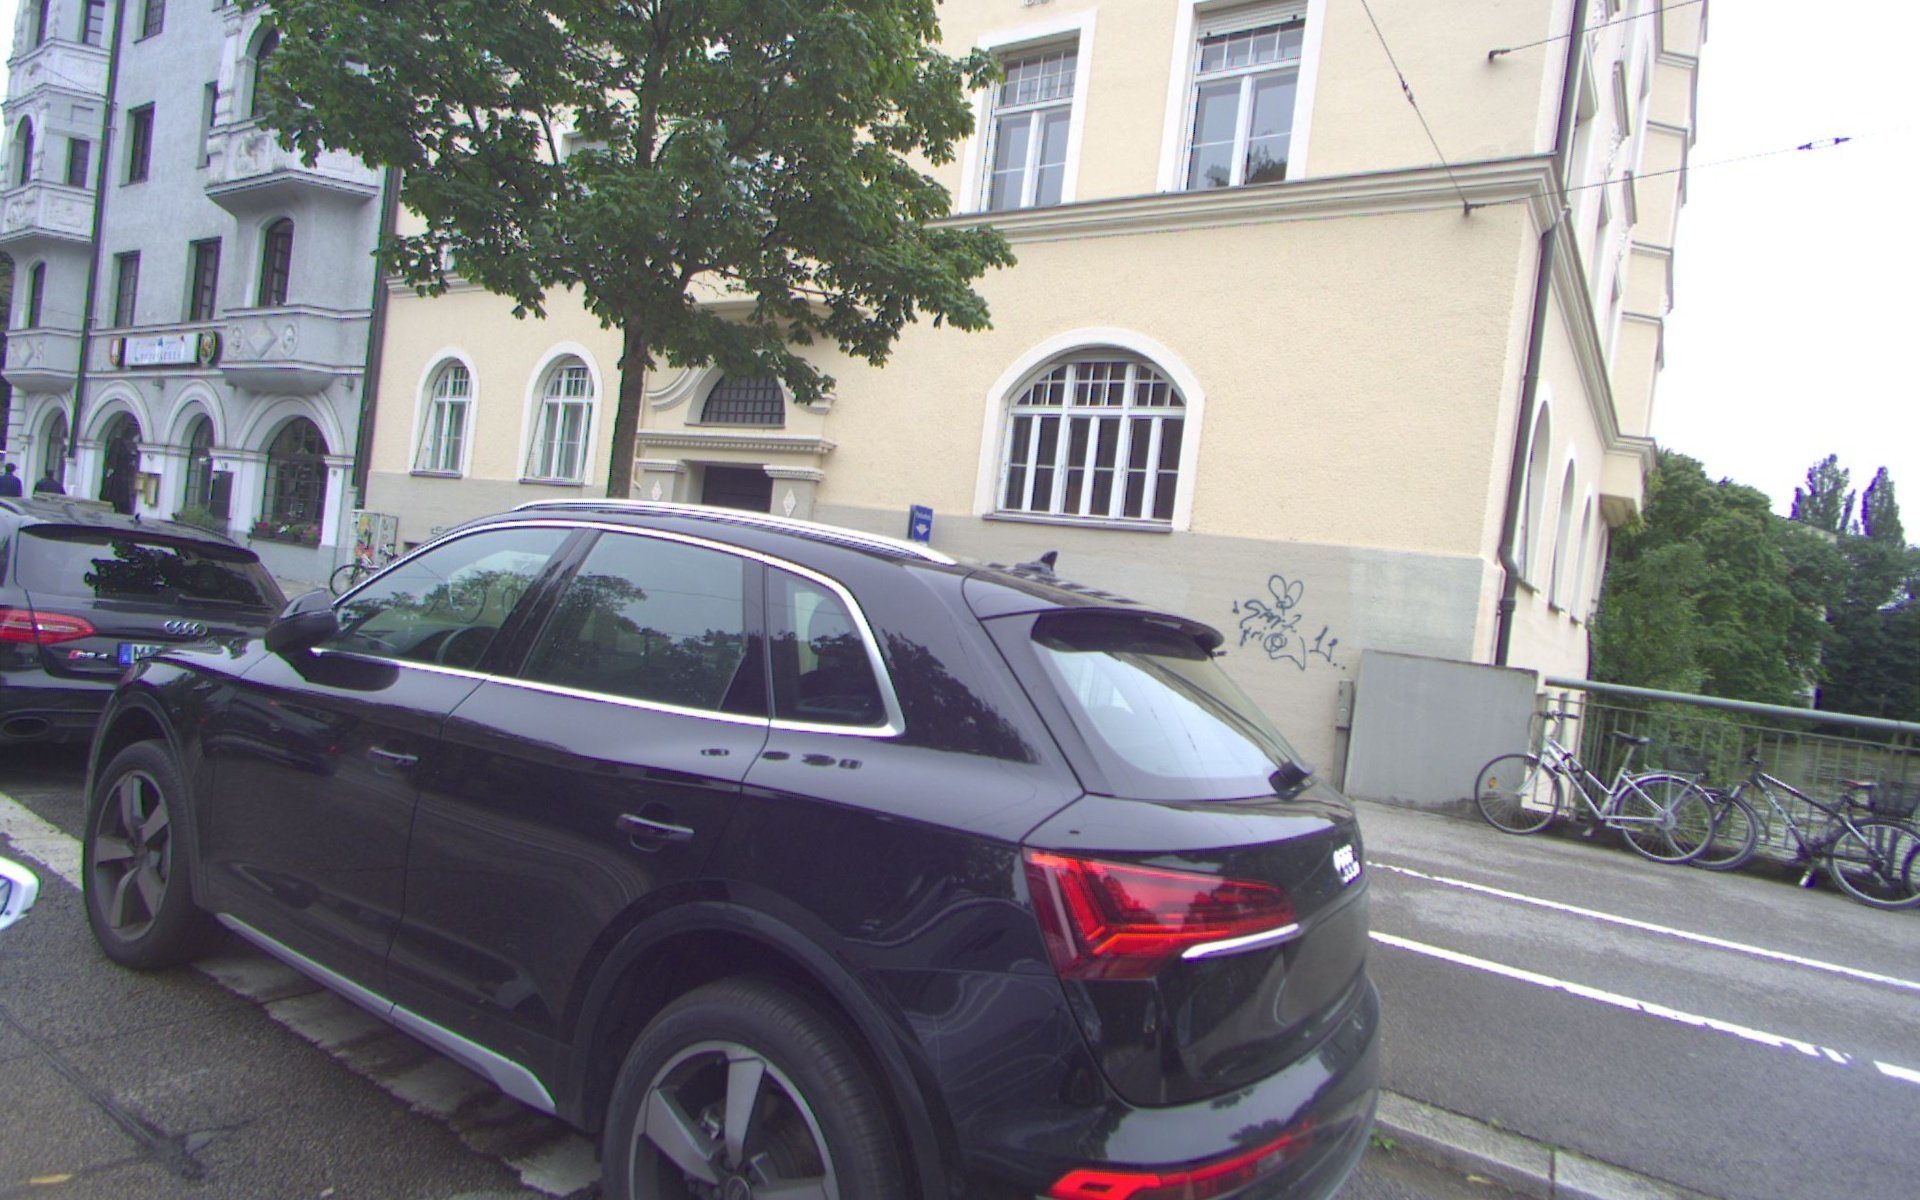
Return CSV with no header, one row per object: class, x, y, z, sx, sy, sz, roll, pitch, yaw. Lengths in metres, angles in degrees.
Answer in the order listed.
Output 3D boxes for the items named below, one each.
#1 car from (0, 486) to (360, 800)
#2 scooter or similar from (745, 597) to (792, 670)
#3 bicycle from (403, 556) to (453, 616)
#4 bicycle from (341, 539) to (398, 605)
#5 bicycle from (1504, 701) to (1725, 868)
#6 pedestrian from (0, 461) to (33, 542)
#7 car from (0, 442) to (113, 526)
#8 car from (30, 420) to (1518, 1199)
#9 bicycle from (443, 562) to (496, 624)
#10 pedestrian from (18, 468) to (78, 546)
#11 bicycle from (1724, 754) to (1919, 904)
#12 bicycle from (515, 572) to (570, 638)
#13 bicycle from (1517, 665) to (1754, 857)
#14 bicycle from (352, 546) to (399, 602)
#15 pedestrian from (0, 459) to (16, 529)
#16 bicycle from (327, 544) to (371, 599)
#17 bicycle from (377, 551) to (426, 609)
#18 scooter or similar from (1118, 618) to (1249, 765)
car,-5.983,0.031,6.367,4.525,1.443,1.719,7,-1,31
scooter or similar,-2.570,0.453,13.537,0.413,0.921,0.348,8,0,11
bicycle,-9.315,-0.242,17.612,0.871,0.941,0.273,7,0,33
bicycle,-10.587,-0.502,18.024,1.203,1.051,0.242,7,0,32
bicycle,5.493,1.530,8.515,1.417,1.119,0.287,7,1,24
pedestrian,-22.885,-2.372,24.040,0.855,1.838,0.706,7,0,32
car,-37.367,-4.748,39.775,2.192,2.643,5.309,7,-2,29
car,-0.900,0.501,3.159,4.413,1.678,1.777,7,-1,32
bicycle,-8.234,-0.122,16.871,0.871,0.941,0.285,7,0,33
pedestrian,-22.283,-2.263,24.581,0.829,1.752,0.706,7,0,32
bicycle,6.653,1.754,7.757,1.122,0.948,0.248,6,4,10
bicycle,-6.607,0.077,15.916,0.871,0.941,0.222,7,0,31
bicycle,5.660,1.320,8.519,1.511,1.327,0.332,7,0,30
bicycle,-10.862,-0.486,18.692,0.871,0.941,0.291,7,0,33
pedestrian,-28.907,-3.213,30.071,0.663,2.039,0.715,7,1,29
bicycle,-11.645,-0.545,19.176,0.871,0.941,0.259,7,0,33
bicycle,-10.084,-0.370,18.166,0.871,0.941,0.306,7,0,33
scooter or similar,2.265,0.913,10.259,1.123,1.328,0.261,7,0,32
